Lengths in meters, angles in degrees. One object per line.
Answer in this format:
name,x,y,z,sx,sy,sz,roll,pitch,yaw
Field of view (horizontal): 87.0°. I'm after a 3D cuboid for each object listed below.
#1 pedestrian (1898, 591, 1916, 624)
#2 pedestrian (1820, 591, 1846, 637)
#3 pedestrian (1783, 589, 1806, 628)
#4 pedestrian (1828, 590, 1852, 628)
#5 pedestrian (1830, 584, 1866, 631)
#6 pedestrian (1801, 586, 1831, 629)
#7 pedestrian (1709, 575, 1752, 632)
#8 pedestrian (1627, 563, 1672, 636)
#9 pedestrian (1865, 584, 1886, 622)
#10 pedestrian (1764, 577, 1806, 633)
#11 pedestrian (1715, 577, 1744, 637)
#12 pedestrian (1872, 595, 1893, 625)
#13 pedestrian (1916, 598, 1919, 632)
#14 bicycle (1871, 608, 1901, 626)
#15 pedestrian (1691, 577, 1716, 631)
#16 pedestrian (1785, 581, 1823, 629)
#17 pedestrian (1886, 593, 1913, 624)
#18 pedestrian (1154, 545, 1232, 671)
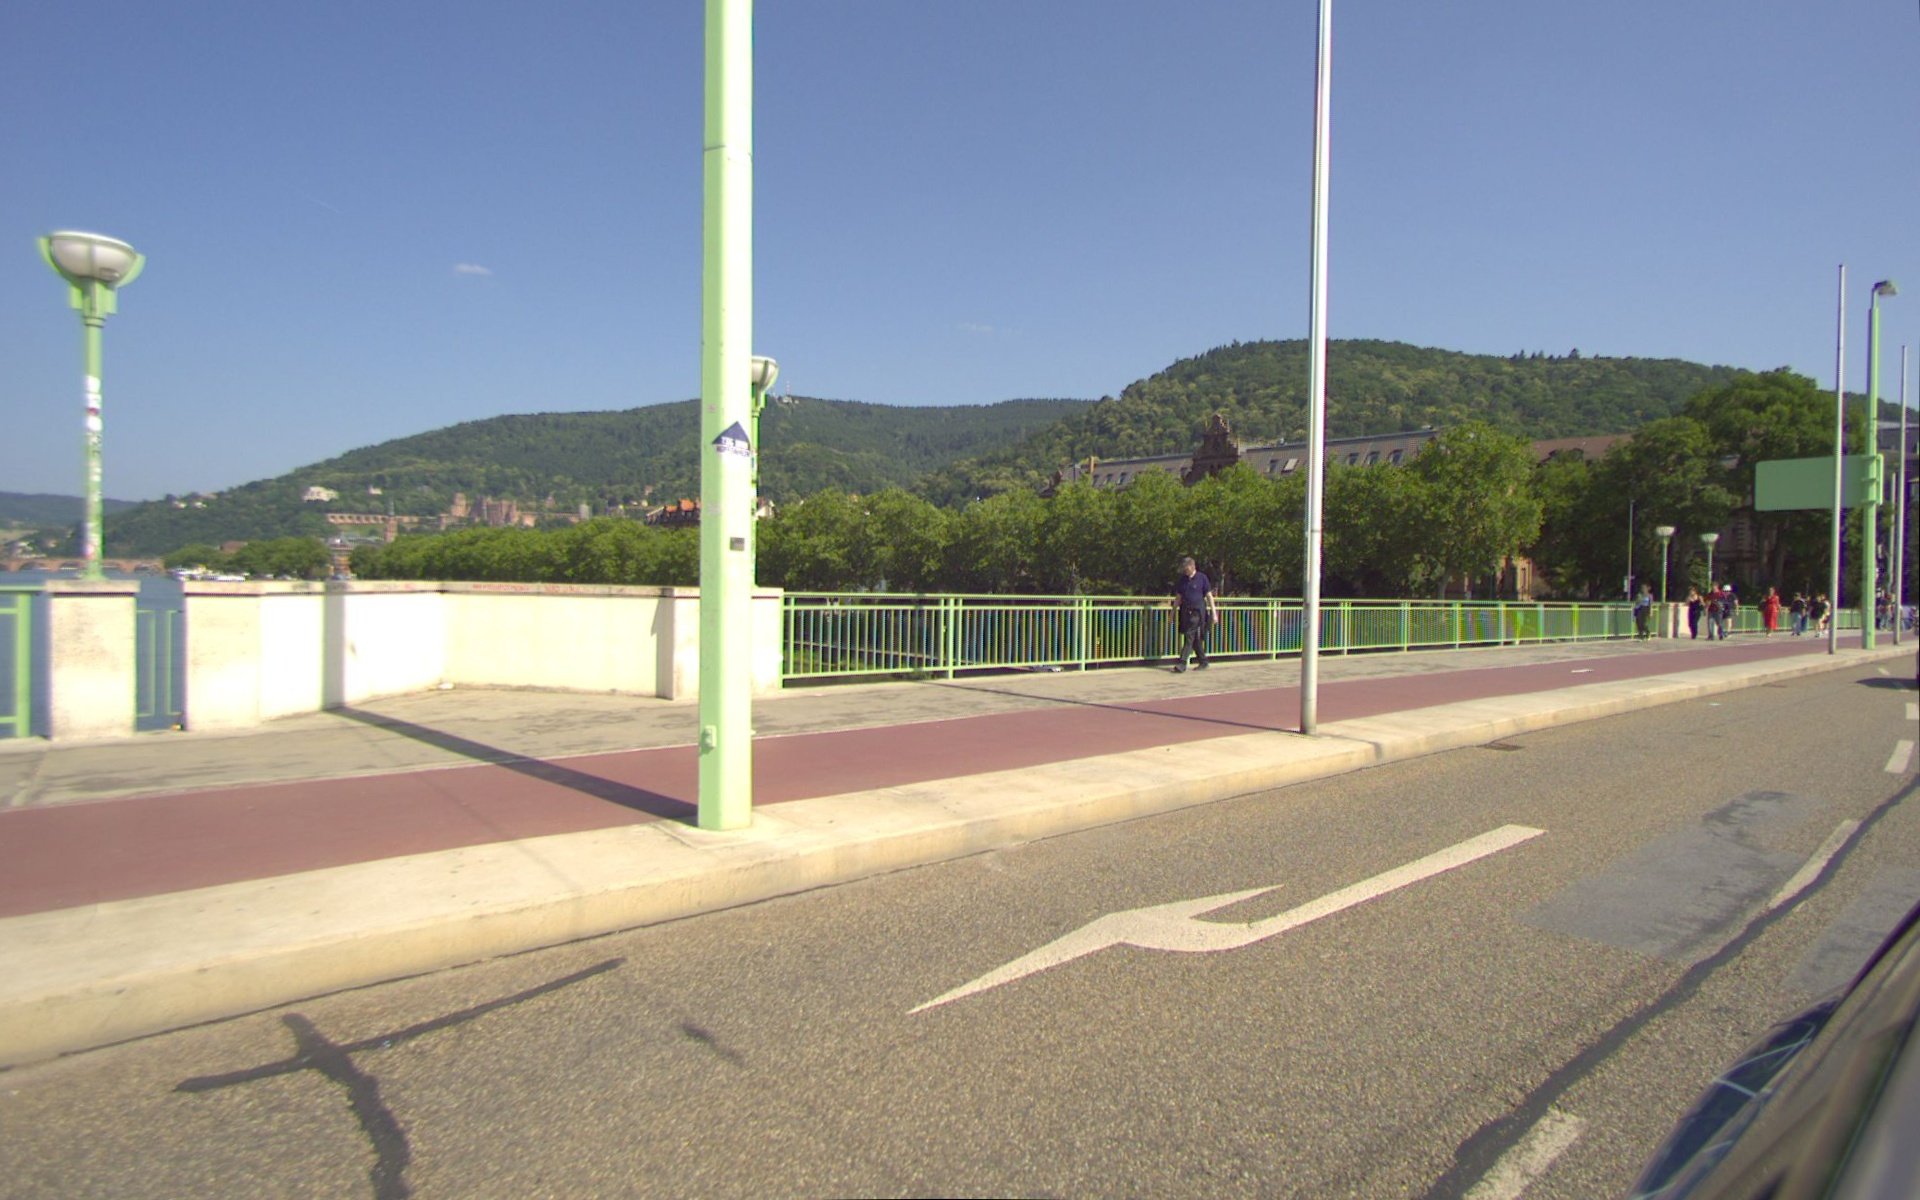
pedestrian,51.674,0.404,55.205,0.696,1.738,0.720,2,1,44
pedestrian,32.701,0.503,37.897,0.654,1.670,0.854,2,1,44
pedestrian,36.104,0.350,43.763,0.679,1.652,0.651,1,-1,-40
pedestrian,38.115,0.394,43.839,0.679,1.582,0.651,2,1,-40
pedestrian,34.753,0.284,39.617,0.985,1.772,0.915,2,1,44
pedestrian,33.932,0.289,40.130,0.834,1.698,0.872,2,1,44
pedestrian,26.478,0.112,34.780,1.234,1.918,0.985,0,1,-45
pedestrian,19.569,-0.026,28.718,0.874,2.039,1.042,2,1,44
pedestrian,49.406,0.150,54.607,0.803,2.039,0.939,2,1,44
pedestrian,29.606,0.157,36.321,0.923,1.978,1.016,0,1,-42
pedestrian,23.701,0.207,31.169,0.585,1.816,0.622,2,1,45
pedestrian,52.206,0.535,57.270,0.799,1.655,0.935,2,1,43
pedestrian,52.340,0.825,54.963,0.549,1.821,0.636,2,1,44
bicycle,71.371,1.323,77.979,2.228,1.219,0.805,-3,5,-24
pedestrian,23.280,0.120,31.685,0.523,1.670,0.688,2,1,44
pedestrian,32.466,0.179,38.910,0.985,1.791,1.234,3,2,44
pedestrian,49.988,0.444,53.842,0.985,1.635,0.907,2,1,44
pedestrian,3.388,0.112,14.705,0.655,1.766,0.963,2,0,44
